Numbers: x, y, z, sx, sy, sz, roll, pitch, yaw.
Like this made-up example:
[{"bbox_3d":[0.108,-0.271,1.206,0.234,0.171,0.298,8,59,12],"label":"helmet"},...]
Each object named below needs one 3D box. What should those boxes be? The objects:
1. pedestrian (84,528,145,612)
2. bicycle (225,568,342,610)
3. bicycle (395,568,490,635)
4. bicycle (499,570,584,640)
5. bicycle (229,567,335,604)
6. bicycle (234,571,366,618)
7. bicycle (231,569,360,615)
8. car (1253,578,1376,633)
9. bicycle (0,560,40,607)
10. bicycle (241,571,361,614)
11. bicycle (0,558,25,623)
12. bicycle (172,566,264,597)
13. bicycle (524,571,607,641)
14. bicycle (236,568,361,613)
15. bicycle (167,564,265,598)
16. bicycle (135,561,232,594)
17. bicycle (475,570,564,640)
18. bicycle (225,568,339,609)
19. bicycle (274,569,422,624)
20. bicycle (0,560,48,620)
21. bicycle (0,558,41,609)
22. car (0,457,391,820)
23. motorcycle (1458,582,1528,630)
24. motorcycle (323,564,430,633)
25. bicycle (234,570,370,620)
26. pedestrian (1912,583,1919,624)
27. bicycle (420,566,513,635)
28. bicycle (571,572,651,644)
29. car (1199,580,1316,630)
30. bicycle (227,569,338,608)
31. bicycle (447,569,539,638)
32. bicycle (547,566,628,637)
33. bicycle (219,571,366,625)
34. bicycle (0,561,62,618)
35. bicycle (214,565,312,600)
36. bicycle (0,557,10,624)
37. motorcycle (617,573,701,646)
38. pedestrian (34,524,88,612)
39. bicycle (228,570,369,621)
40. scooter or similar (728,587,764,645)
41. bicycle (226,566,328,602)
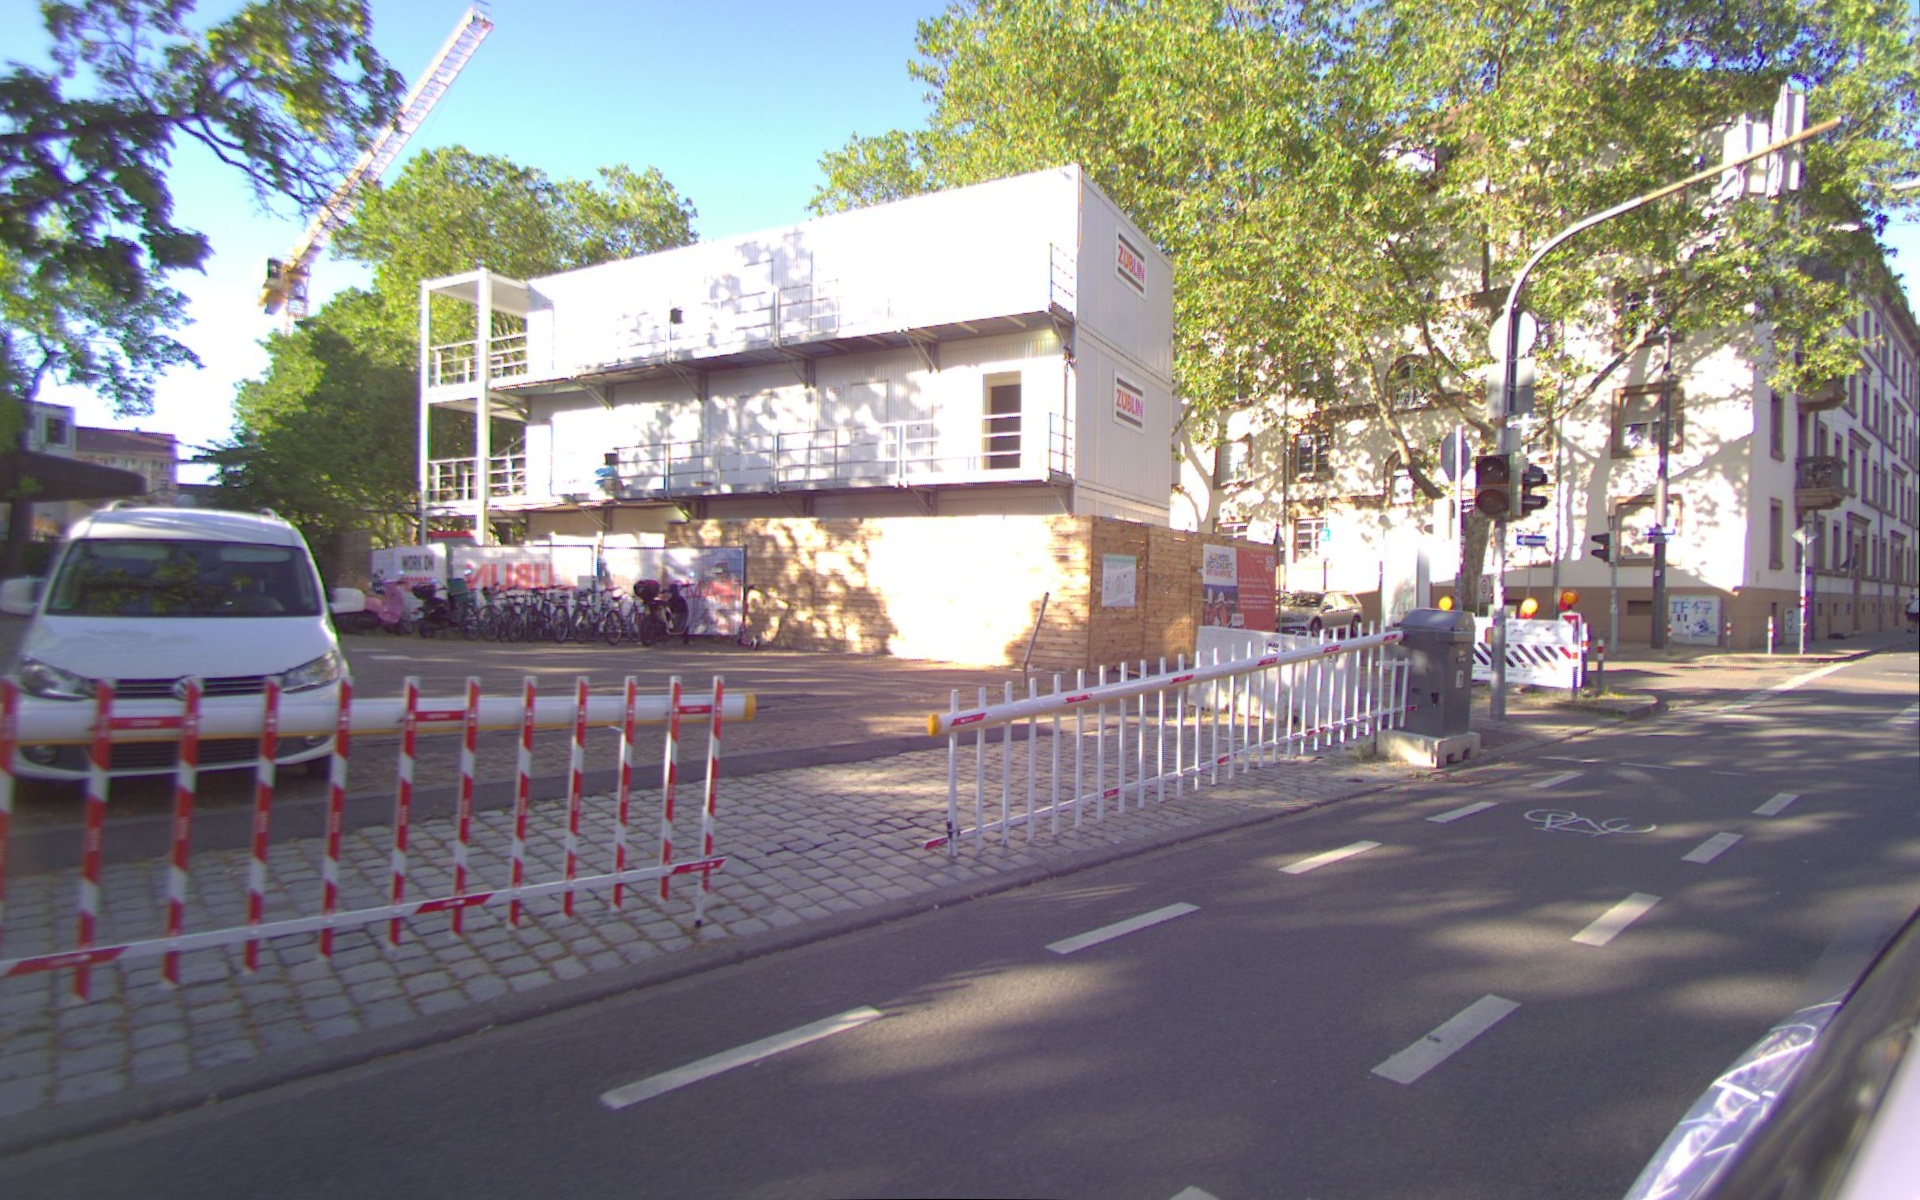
[{"bbox_3d":[-20.836,-0.746,24.943,1.020,2.039,0.796,2,1,25],"label":"pedestrian"},{"bbox_3d":[-19.566,-0.306,29.367,2.783,1.161,0.822,0,2,-33],"label":"bicycle"},{"bbox_3d":[-10.285,0.002,20.210,0.535,1.273,2.044,2,2,11],"label":"bicycle"},{"bbox_3d":[-8.059,0.071,19.600,0.464,1.273,2.044,2,2,11],"label":"bicycle"},{"bbox_3d":[-21.806,-0.455,32.626,2.783,1.161,0.822,0,2,-33],"label":"bicycle"},{"bbox_3d":[-16.821,-0.138,25.866,2.783,1.161,0.822,0,2,-33],"label":"bicycle"},{"bbox_3d":[-17.402,-0.205,26.588,2.783,1.161,0.822,0,2,-33],"label":"bicycle"},{"bbox_3d":[11.088,0.135,31.484,4.400,1.590,1.725,0,1,-43],"label":"car"},{"bbox_3d":[-25.019,-0.432,25.181,3.029,1.161,0.822,0,2,-33],"label":"bicycle"},{"bbox_3d":[-18.535,-0.217,28.545,2.783,1.161,0.822,0,2,-33],"label":"bicycle"},{"bbox_3d":[-18.737,-0.188,17.964,3.029,1.161,0.822,0,2,-33],"label":"bicycle"},{"bbox_3d":[-28.322,-0.699,38.645,2.788,1.161,0.821,0,2,-39],"label":"bicycle"},{"bbox_3d":[-7.565,0.081,19.497,0.464,1.273,2.044,2,2,11],"label":"bicycle"},{"bbox_3d":[-17.859,-0.254,27.390,2.783,1.161,0.822,0,2,-33],"label":"bicycle"},{"bbox_3d":[-26.600,-0.673,36.196,2.788,1.161,0.821,0,2,-39],"label":"bicycle"},{"bbox_3d":[-28.433,-0.819,37.109,2.788,1.161,0.821,0,2,-39],"label":"bicycle"},{"bbox_3d":[-8.573,0.066,19.790,0.535,1.273,2.044,2,2,11],"label":"bicycle"},{"bbox_3d":[-20.181,-0.328,30.224,2.783,1.161,0.822,0,2,-33],"label":"bicycle"},{"bbox_3d":[-13.676,-0.072,22.685,2.783,1.161,0.822,0,2,-33],"label":"bicycle"},{"bbox_3d":[-19.939,-0.214,19.784,3.029,1.161,0.822,0,2,-33],"label":"bicycle"},{"bbox_3d":[-23.018,-0.387,23.019,3.029,1.161,0.822,0,2,-33],"label":"bicycle"},{"bbox_3d":[-5.855,0.059,7.811,1.973,1.915,4.949,1,3,-36],"label":"car"},{"bbox_3d":[15.874,0.155,30.189,0.507,1.349,1.759,0,1,-43],"label":"motorcycle"},{"bbox_3d":[-11.567,-0.054,20.148,0.535,1.273,2.205,2,2,11],"label":"motorcycle"},{"bbox_3d":[-16.271,-0.124,25.102,2.783,1.161,0.822,0,2,-33],"label":"bicycle"},{"bbox_3d":[43.519,0.162,45.640,0.685,1.860,0.737,0,1,-43],"label":"pedestrian"},{"bbox_3d":[-9.724,-0.019,20.028,0.535,1.273,2.044,2,2,11],"label":"bicycle"},{"bbox_3d":[-6.619,0.119,19.296,0.464,1.273,2.044,2,2,11],"label":"bicycle"},{"bbox_3d":[9.974,0.140,33.777,4.400,1.519,1.725,0,1,-43],"label":"car"},{"bbox_3d":[-20.679,-0.349,30.991,2.783,1.161,0.822,0,2,-33],"label":"bicycle"},{"bbox_3d":[-9.144,0.033,19.908,0.535,1.273,2.044,2,2,11],"label":"bicycle"},{"bbox_3d":[-7.095,0.008,19.376,0.464,1.273,2.044,2,2,11],"label":"bicycle"},{"bbox_3d":[-15.373,-0.048,23.414,2.783,1.161,0.822,0,2,-33],"label":"bicycle"},{"bbox_3d":[-20.389,-0.226,20.607,3.029,1.161,0.822,0,2,-33],"label":"bicycle"},{"bbox_3d":[-24.363,-0.617,35.442,2.783,1.161,0.822,0,2,-33],"label":"bicycle"},{"bbox_3d":[-18.292,-0.178,17.184,3.029,1.161,0.822,0,2,-33],"label":"bicycle"},{"bbox_3d":[-5.591,0.133,18.946,0.535,1.273,2.205,2,2,11],"label":"motorcycle"},{"bbox_3d":[-21.435,-0.761,24.137,0.787,2.039,0.940,1,1,-31],"label":"pedestrian"},{"bbox_3d":[-15.853,-0.102,24.344,2.783,1.161,0.822,0,2,-33],"label":"bicycle"},{"bbox_3d":[-4.087,0.291,19.298,0.377,1.032,1.491,1,2,-23],"label":"scooter or similar"},{"bbox_3d":[-22.745,-0.527,33.774,2.783,1.161,0.822,0,2,-33],"label":"bicycle"}]
